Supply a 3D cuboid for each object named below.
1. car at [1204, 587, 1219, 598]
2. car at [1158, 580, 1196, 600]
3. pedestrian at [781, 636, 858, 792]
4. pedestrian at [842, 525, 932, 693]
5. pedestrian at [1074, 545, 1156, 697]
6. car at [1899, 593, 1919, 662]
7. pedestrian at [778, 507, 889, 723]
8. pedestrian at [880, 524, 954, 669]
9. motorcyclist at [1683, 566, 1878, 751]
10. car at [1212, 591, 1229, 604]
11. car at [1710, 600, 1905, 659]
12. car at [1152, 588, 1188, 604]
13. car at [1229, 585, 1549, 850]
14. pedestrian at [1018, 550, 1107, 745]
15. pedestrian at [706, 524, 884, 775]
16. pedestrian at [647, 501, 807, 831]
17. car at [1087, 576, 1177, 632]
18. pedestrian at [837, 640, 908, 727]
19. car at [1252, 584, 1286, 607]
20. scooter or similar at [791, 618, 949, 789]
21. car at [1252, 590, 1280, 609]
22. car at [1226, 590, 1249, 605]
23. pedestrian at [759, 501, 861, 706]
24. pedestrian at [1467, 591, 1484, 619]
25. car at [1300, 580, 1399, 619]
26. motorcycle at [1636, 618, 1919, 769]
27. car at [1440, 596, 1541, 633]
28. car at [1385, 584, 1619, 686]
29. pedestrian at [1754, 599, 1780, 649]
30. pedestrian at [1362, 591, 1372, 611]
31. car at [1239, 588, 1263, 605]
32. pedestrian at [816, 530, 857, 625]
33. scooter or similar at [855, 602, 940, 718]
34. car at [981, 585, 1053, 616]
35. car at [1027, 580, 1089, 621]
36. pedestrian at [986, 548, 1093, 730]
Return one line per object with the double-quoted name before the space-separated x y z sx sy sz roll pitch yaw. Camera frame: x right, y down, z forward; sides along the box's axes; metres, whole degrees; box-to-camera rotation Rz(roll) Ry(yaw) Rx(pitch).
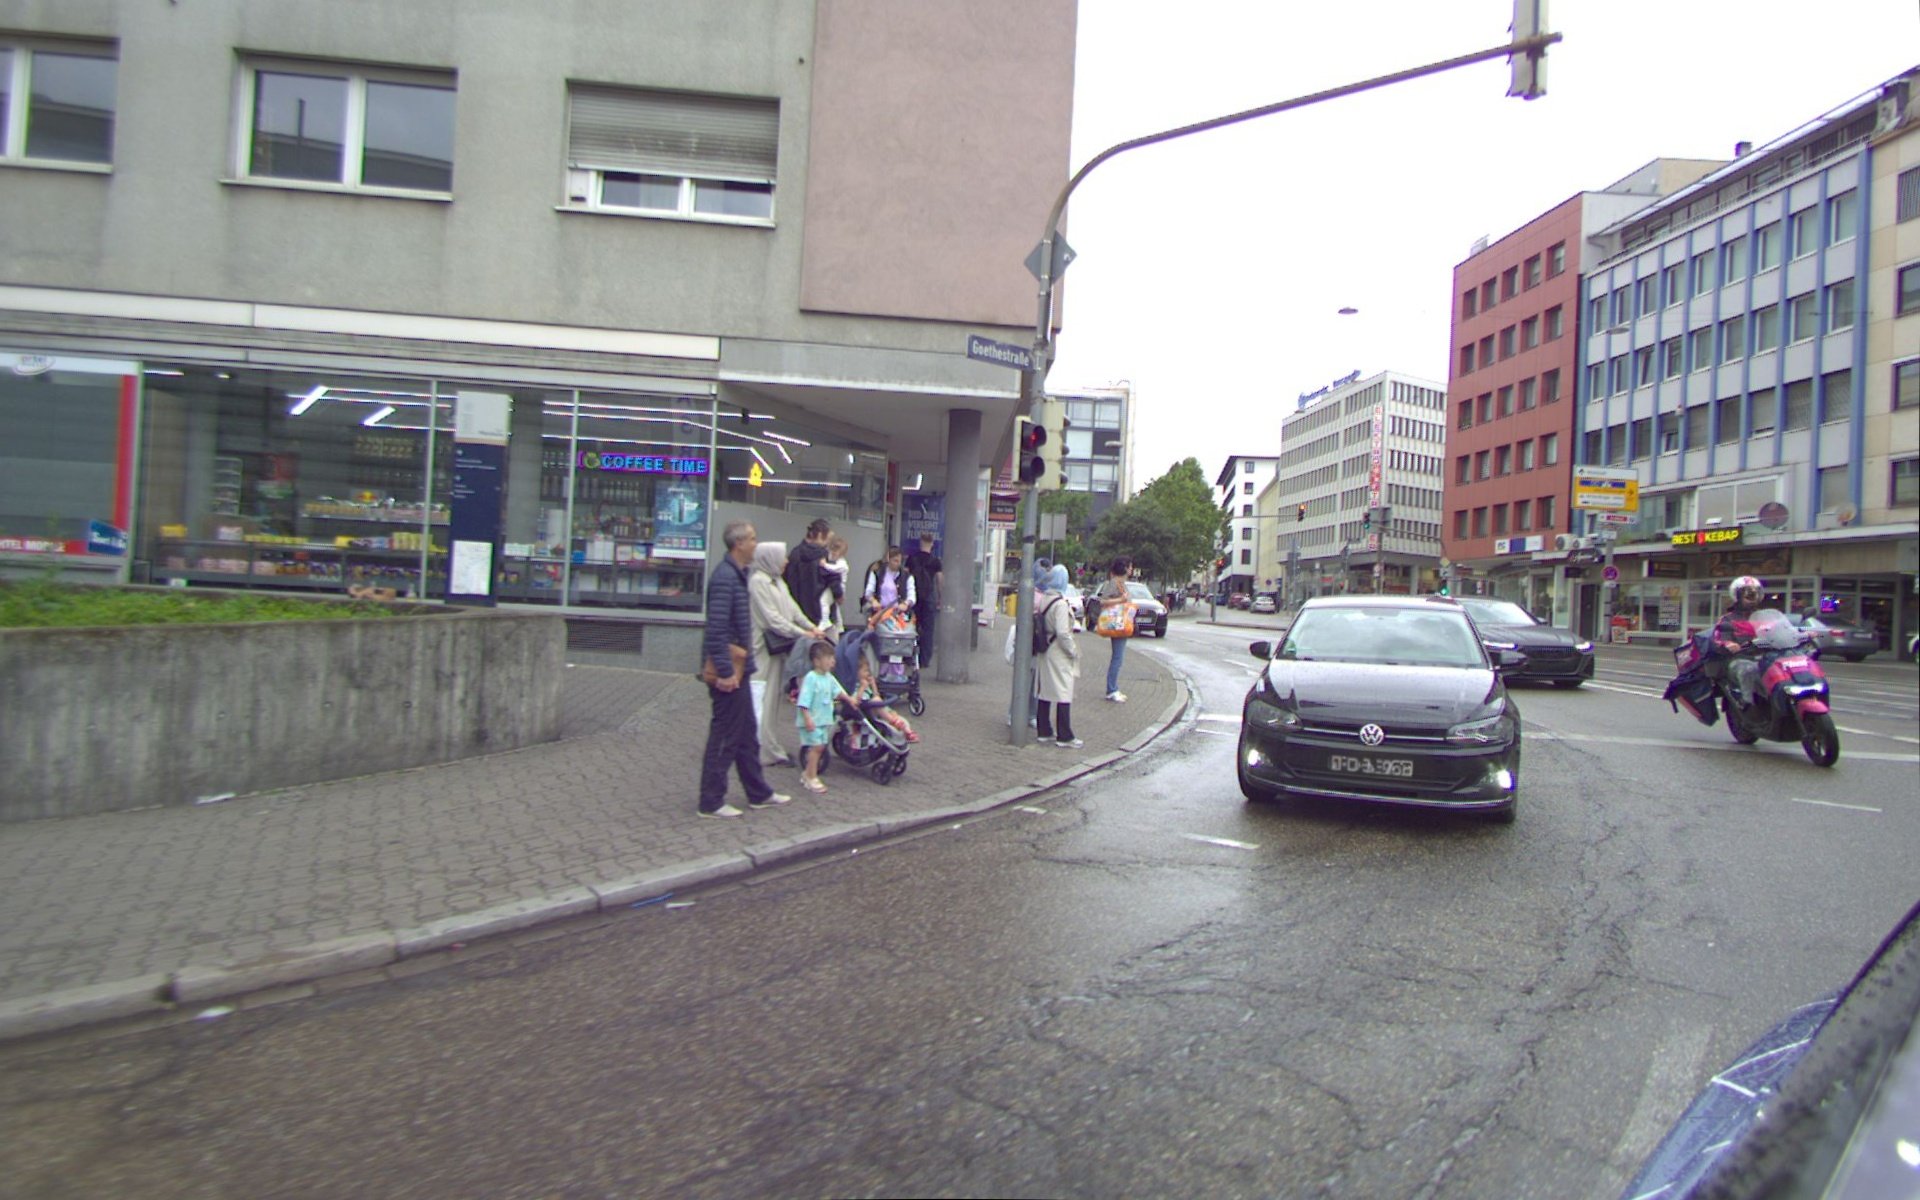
"car" 40.766 -1.193 163.826 1.994 1.669 4.415 0 0 9
"car" 25.224 -1.185 117.563 3.816 2.293 1.958 1 1 38
"pedestrian" -0.977 0.779 7.090 0.258 1.011 0.469 7 2 19
"pedestrian" -0.789 0.082 11.067 0.823 1.743 0.617 3 3 5
"pedestrian" 1.848 0.231 12.014 0.623 1.712 0.773 4 2 32
"car" 26.918 0.777 25.412 1.819 1.850 4.967 1 0 -3
"pedestrian" -1.170 0.119 9.455 0.823 1.886 0.659 5 4 1
"pedestrian" -0.569 -0.055 13.600 0.826 1.889 0.663 0 0 16
"motorcyclist" 7.656 0.510 9.509 1.076 1.625 0.950 1 0 10
"car" 35.657 -0.334 138.542 1.995 1.864 4.031 0 0 11
"car" 26.448 0.853 31.861 1.834 1.628 4.883 1 0 -3
"car" 21.120 -0.396 101.826 3.493 1.578 1.733 0 1 13
"car" 3.263 0.629 7.729 1.725 1.449 3.848 0 1 24
"pedestrian" 0.928 0.407 9.343 0.530 1.656 0.840 5 4 -4
"pedestrian" -1.238 0.341 7.749 1.023 1.744 0.835 3 1 13
"pedestrian" -1.431 0.358 6.306 0.608 1.888 0.785 5 5 12
"car" 5.113 0.097 30.622 1.836 1.567 4.106 0 0 -3
"pedestrian" -0.647 0.613 7.547 0.367 0.578 0.456 4 1 15
"car" 29.426 -0.437 96.552 2.060 2.117 4.609 0 0 4
"scooter or similar" -0.661 0.738 7.579 0.959 1.122 0.652 4 1 16
"car" 27.549 -0.048 91.147 1.972 1.652 4.597 0 0 12
"car" 30.799 -0.271 112.440 1.902 1.693 4.433 0 0 9
"pedestrian" -1.497 0.025 10.212 0.806 1.955 0.731 3 1 4
"pedestrian" 32.551 0.331 63.896 0.728 1.770 0.733 1 -1 -33
"car" 16.454 -0.009 43.044 1.959 1.571 4.435 0 0 -9
"motorcycle" 7.655 0.803 9.565 1.293 1.149 2.179 1 1 10
"car" 22.705 0.575 43.519 1.757 1.464 4.755 1 0 -1
"car" 9.329 0.519 17.950 1.965 1.510 4.727 2 1 6
"pedestrian" 28.464 0.846 35.704 0.438 1.730 0.584 0 -1 -3
"pedestrian" 34.109 0.099 84.827 0.705 1.643 0.720 2 0 15
"car" 30.296 -0.337 105.336 1.995 1.772 4.598 0 0 11
"pedestrian" -1.142 -0.208 9.385 0.218 0.858 0.439 0 0 17
"scooter or similar" -0.643 0.584 10.227 0.757 0.997 1.050 3 4 -4
"car" 3.330 -0.003 58.315 3.933 1.704 1.996 0 1 -43
"car" 4.011 0.036 41.992 1.961 1.604 4.105 1 -1 -3
"pedestrian" 0.777 0.354 9.899 0.742 1.654 0.588 7 5 38
